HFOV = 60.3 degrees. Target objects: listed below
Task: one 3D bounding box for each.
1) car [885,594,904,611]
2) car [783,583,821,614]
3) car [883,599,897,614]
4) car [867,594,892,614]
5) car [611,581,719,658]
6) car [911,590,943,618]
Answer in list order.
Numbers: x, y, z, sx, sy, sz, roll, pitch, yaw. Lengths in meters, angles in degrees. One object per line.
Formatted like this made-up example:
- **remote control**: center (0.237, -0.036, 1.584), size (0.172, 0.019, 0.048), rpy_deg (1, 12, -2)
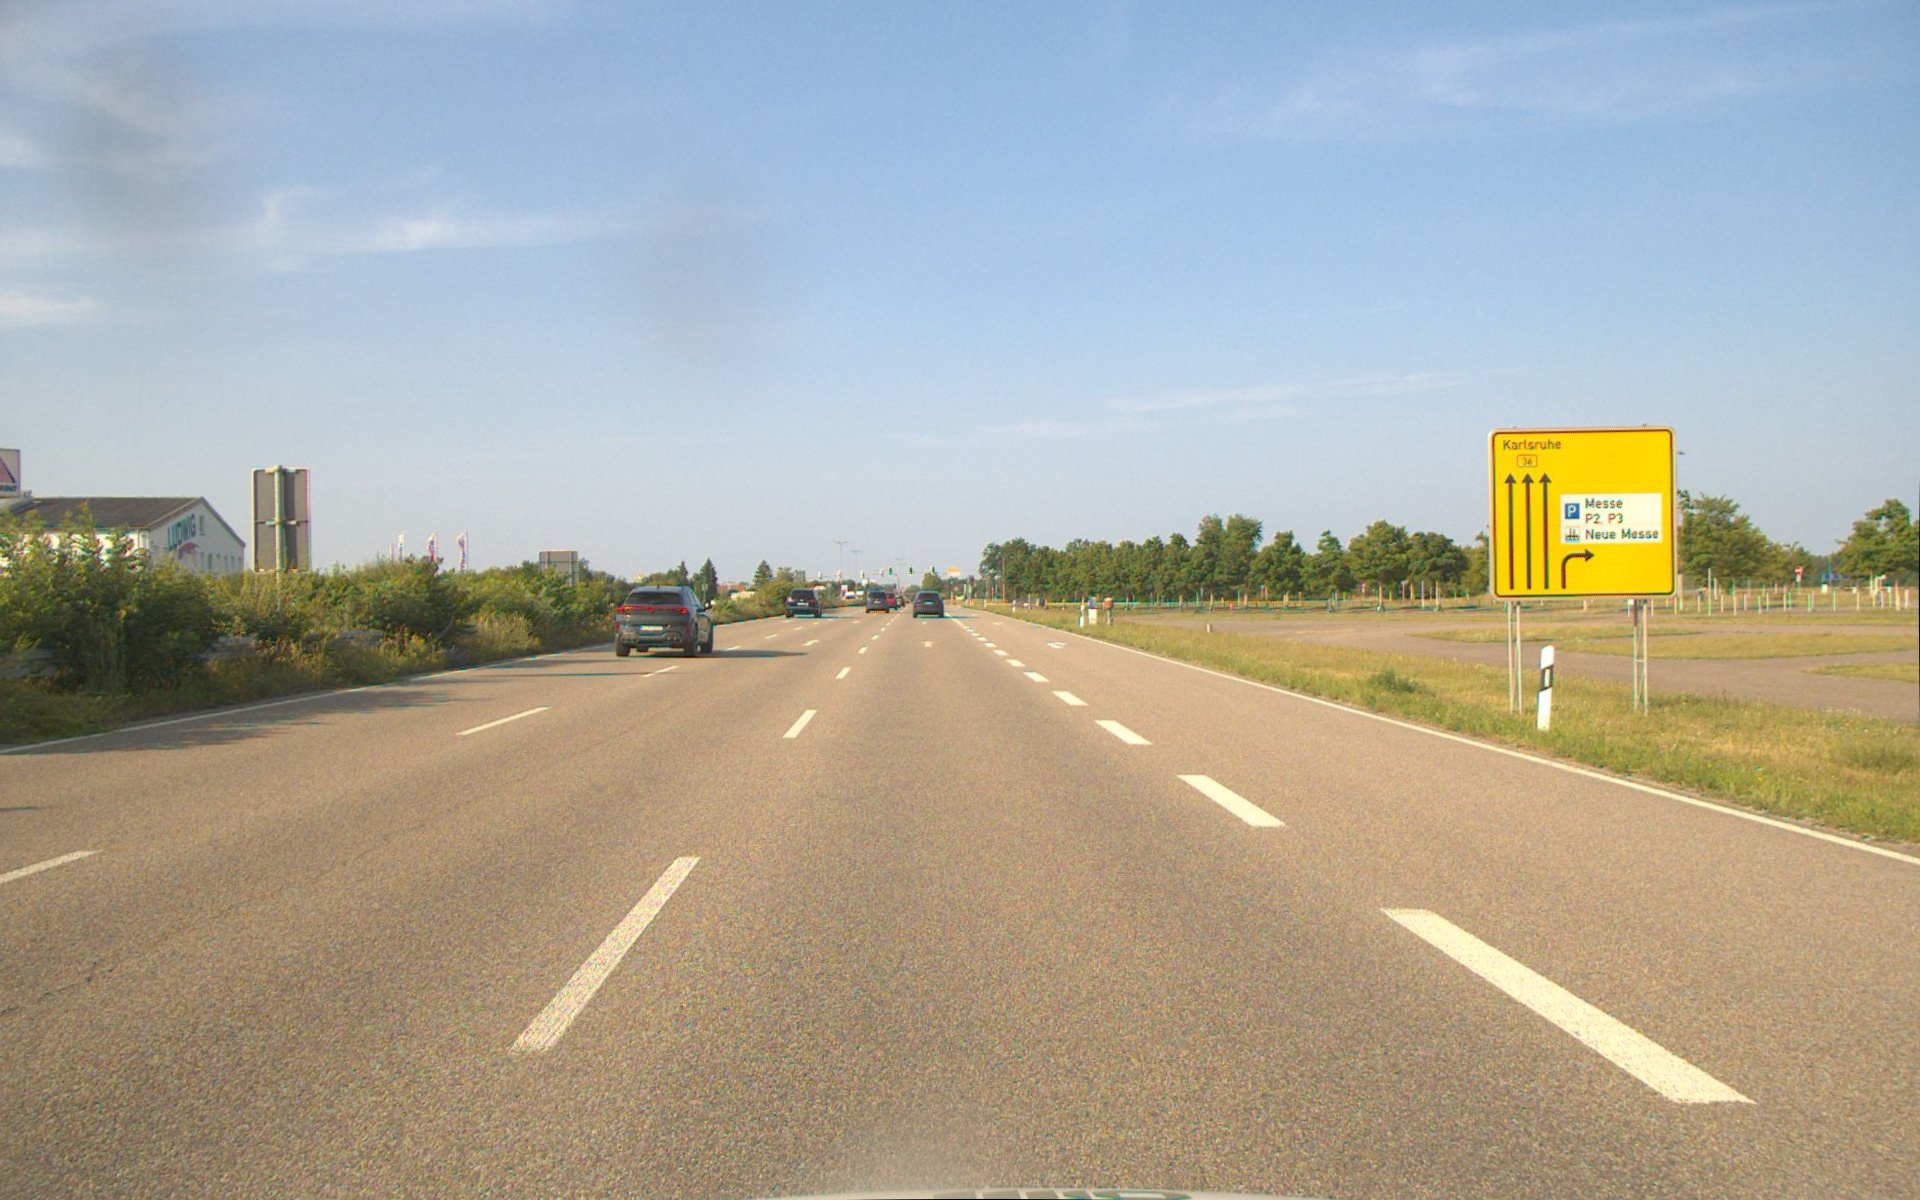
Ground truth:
- **car**: center (-5.960, 0.252, 150.942), size (1.614, 1.489, 3.979), rpy_deg (2, 0, -2)
- **car**: center (-9.244, -0.109, 97.031), size (1.893, 1.709, 4.399), rpy_deg (2, 0, -2)
- **car**: center (-8.387, 0.833, 199.277), size (1.612, 1.758, 3.399), rpy_deg (1, -1, -2)
- **car**: center (-6.111, 0.284, 125.834), size (1.776, 1.489, 4.399), rpy_deg (2, 0, -2)
- **car**: center (-6.854, 0.428, 38.795), size (1.808, 1.640, 4.399), rpy_deg (2, 0, -2)
- **car**: center (-2.080, 0.234, 103.798), size (1.893, 1.709, 4.399), rpy_deg (2, 0, -2)
